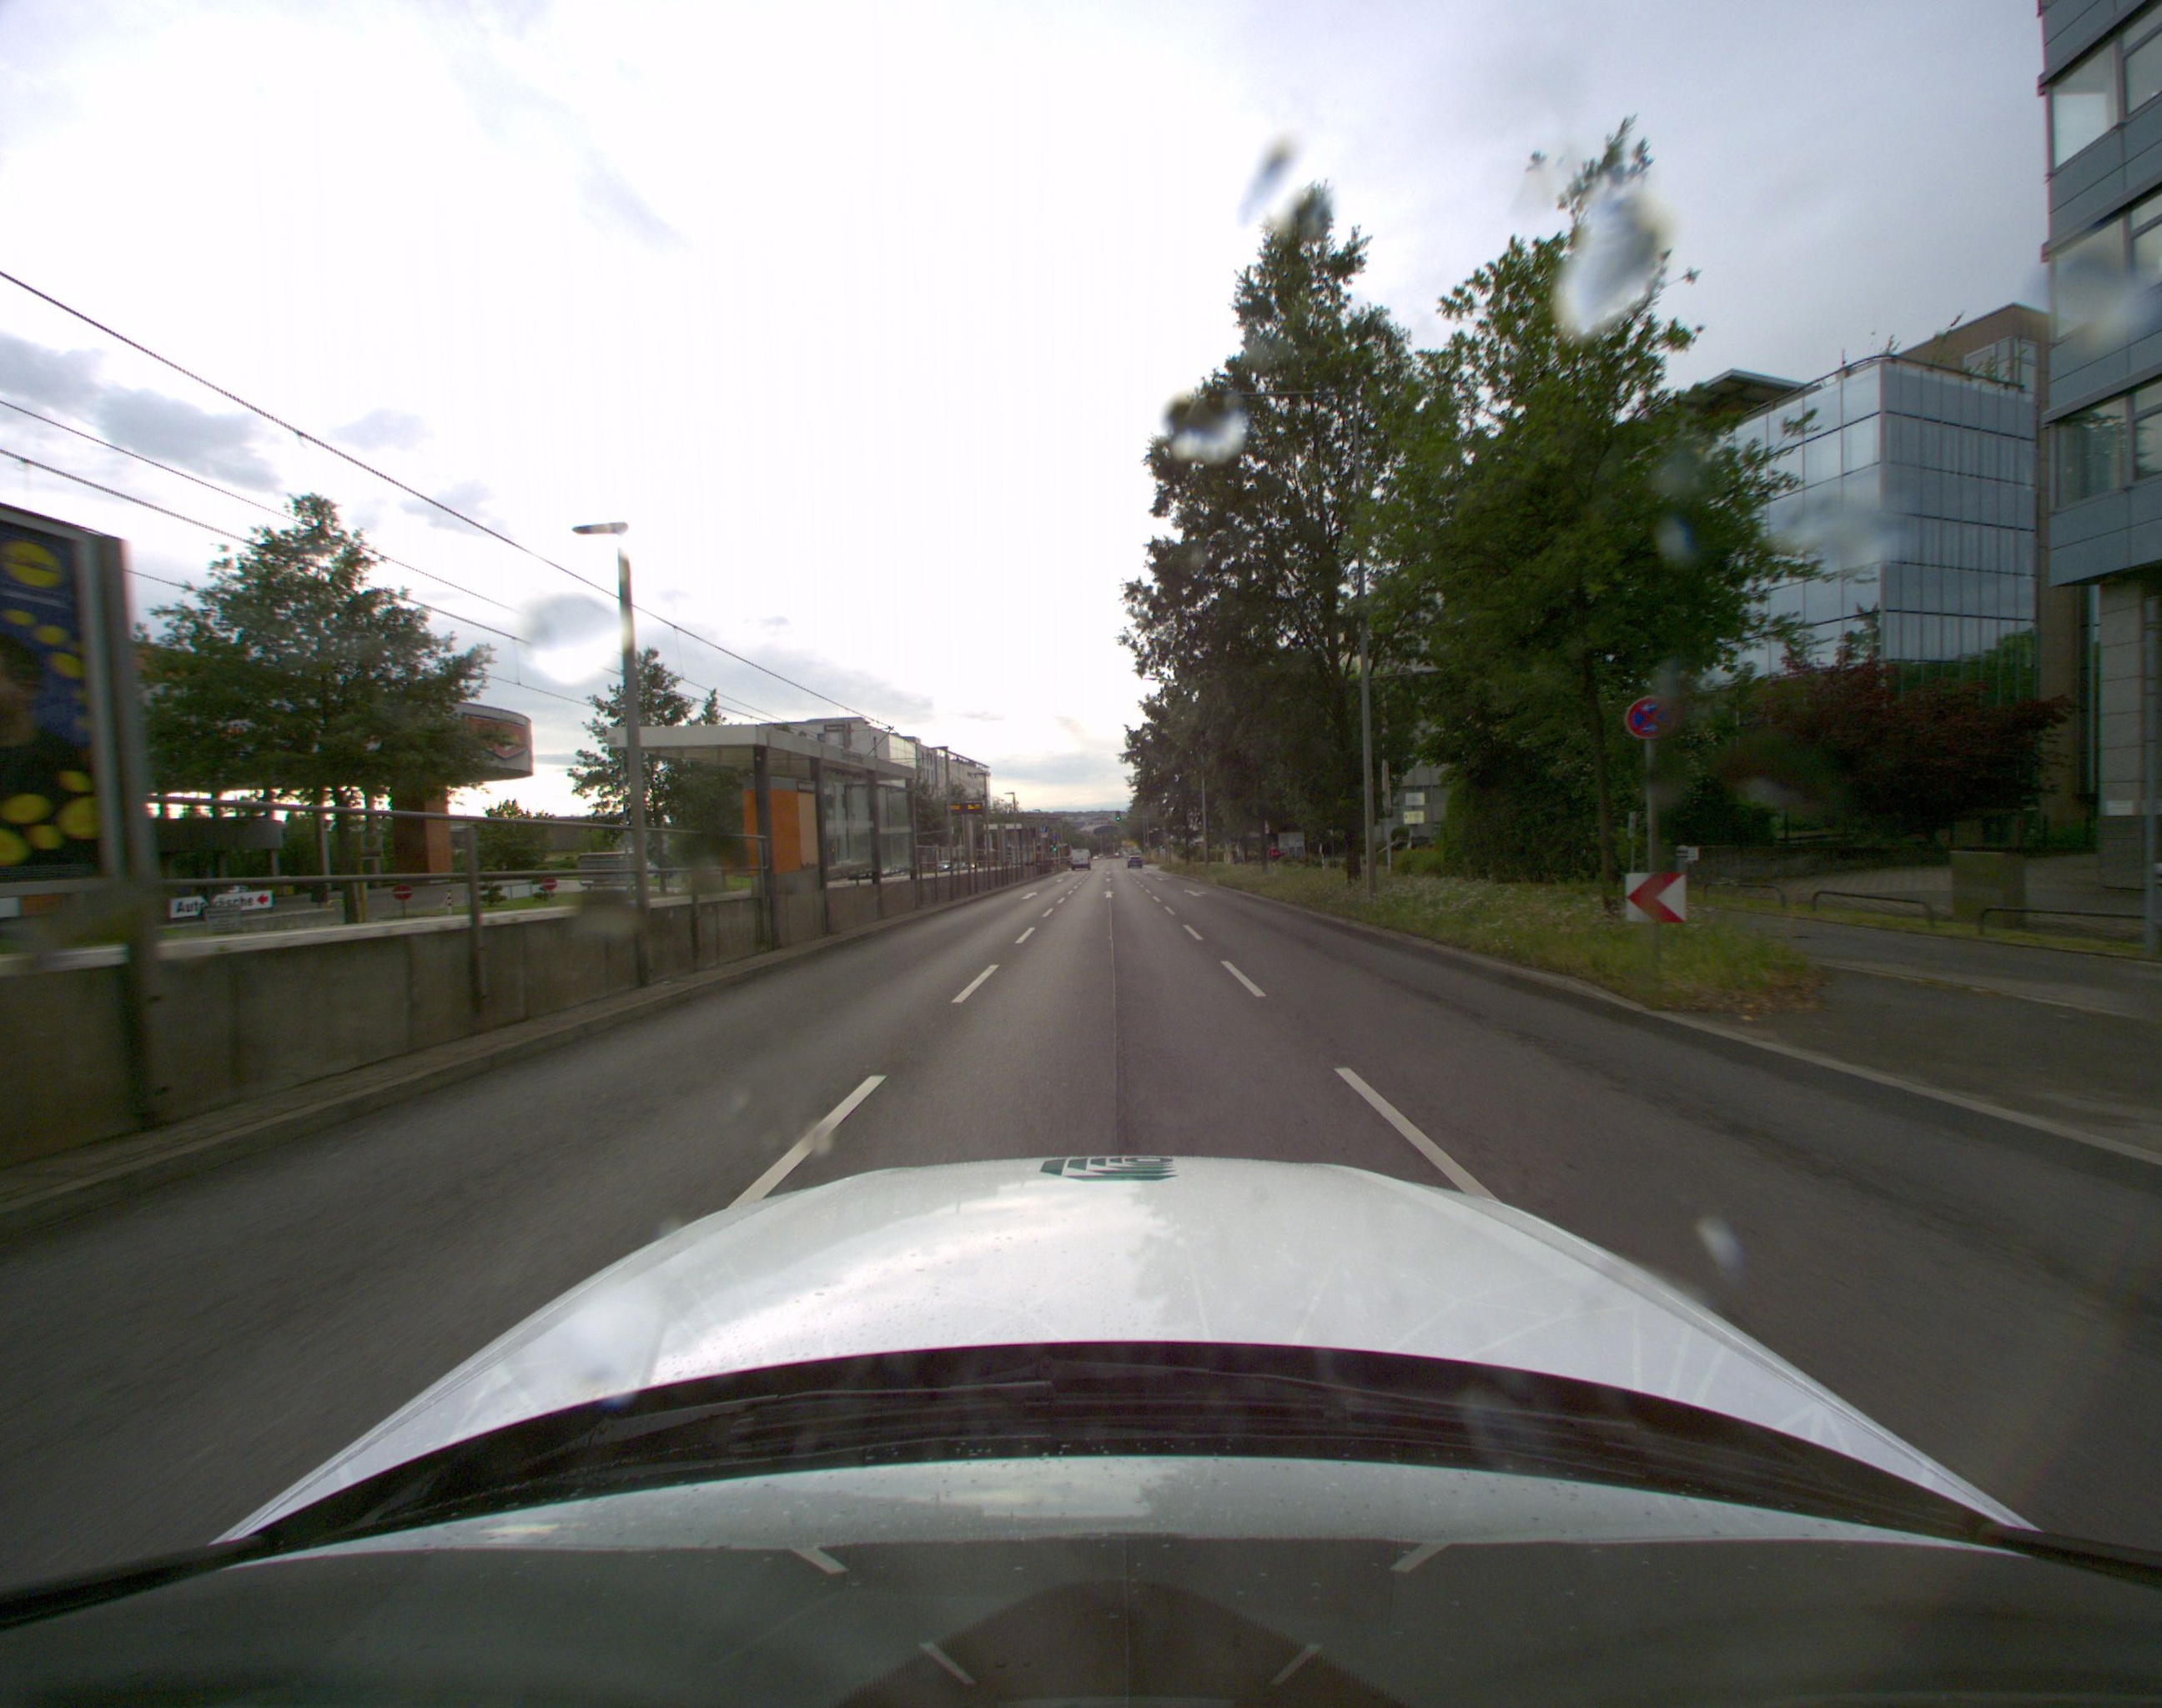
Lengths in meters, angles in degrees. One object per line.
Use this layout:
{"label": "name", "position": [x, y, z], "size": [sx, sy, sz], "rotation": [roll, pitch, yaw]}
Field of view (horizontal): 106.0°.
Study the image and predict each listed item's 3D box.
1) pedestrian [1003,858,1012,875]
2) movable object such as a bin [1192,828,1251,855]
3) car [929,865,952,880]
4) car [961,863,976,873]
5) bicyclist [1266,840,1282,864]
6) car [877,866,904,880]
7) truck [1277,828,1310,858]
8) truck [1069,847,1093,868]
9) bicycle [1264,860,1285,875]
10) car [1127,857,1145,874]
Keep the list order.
{"label": "pedestrian", "position": [-7.136, 1.241, 78.986], "size": [0.704, 1.650, 0.644], "rotation": [-1, 0, -27]}
{"label": "movable object such as a bin", "position": [30.573, -2.789, 177.932], "size": [12.093, 5.261, 3.792], "rotation": [-3, -1, 2]}
{"label": "car", "position": [-18.068, 2.307, 104.829], "size": [1.986, 1.774, 4.391], "rotation": [-2, 0, 2]}
{"label": "car", "position": [-17.377, 2.192, 125.748], "size": [1.722, 1.423, 3.780], "rotation": [-2, 0, 1]}
{"label": "bicyclist", "position": [10.644, -0.088, 44.910], "size": [0.653, 1.288, 1.220], "rotation": [0, 0, 2]}
{"label": "car", "position": [-21.919, 2.171, 93.733], "size": [1.987, 1.517, 4.706], "rotation": [0, -1, 0]}
{"label": "truck", "position": [18.252, -0.898, 70.031], "size": [1.741, 2.518, 3.997], "rotation": [0, -1, -1]}
{"label": "truck", "position": [0.037, 0.393, 90.590], "size": [2.350, 2.262, 5.310], "rotation": [-1, -1, 3]}
{"label": "bicycle", "position": [10.645, 0.721, 44.908], "size": [0.665, 0.809, 2.319], "rotation": [0, -1, 2]}
{"label": "car", "position": [6.628, 1.365, 97.930], "size": [1.984, 2.014, 3.940], "rotation": [-1, -1, 5]}
